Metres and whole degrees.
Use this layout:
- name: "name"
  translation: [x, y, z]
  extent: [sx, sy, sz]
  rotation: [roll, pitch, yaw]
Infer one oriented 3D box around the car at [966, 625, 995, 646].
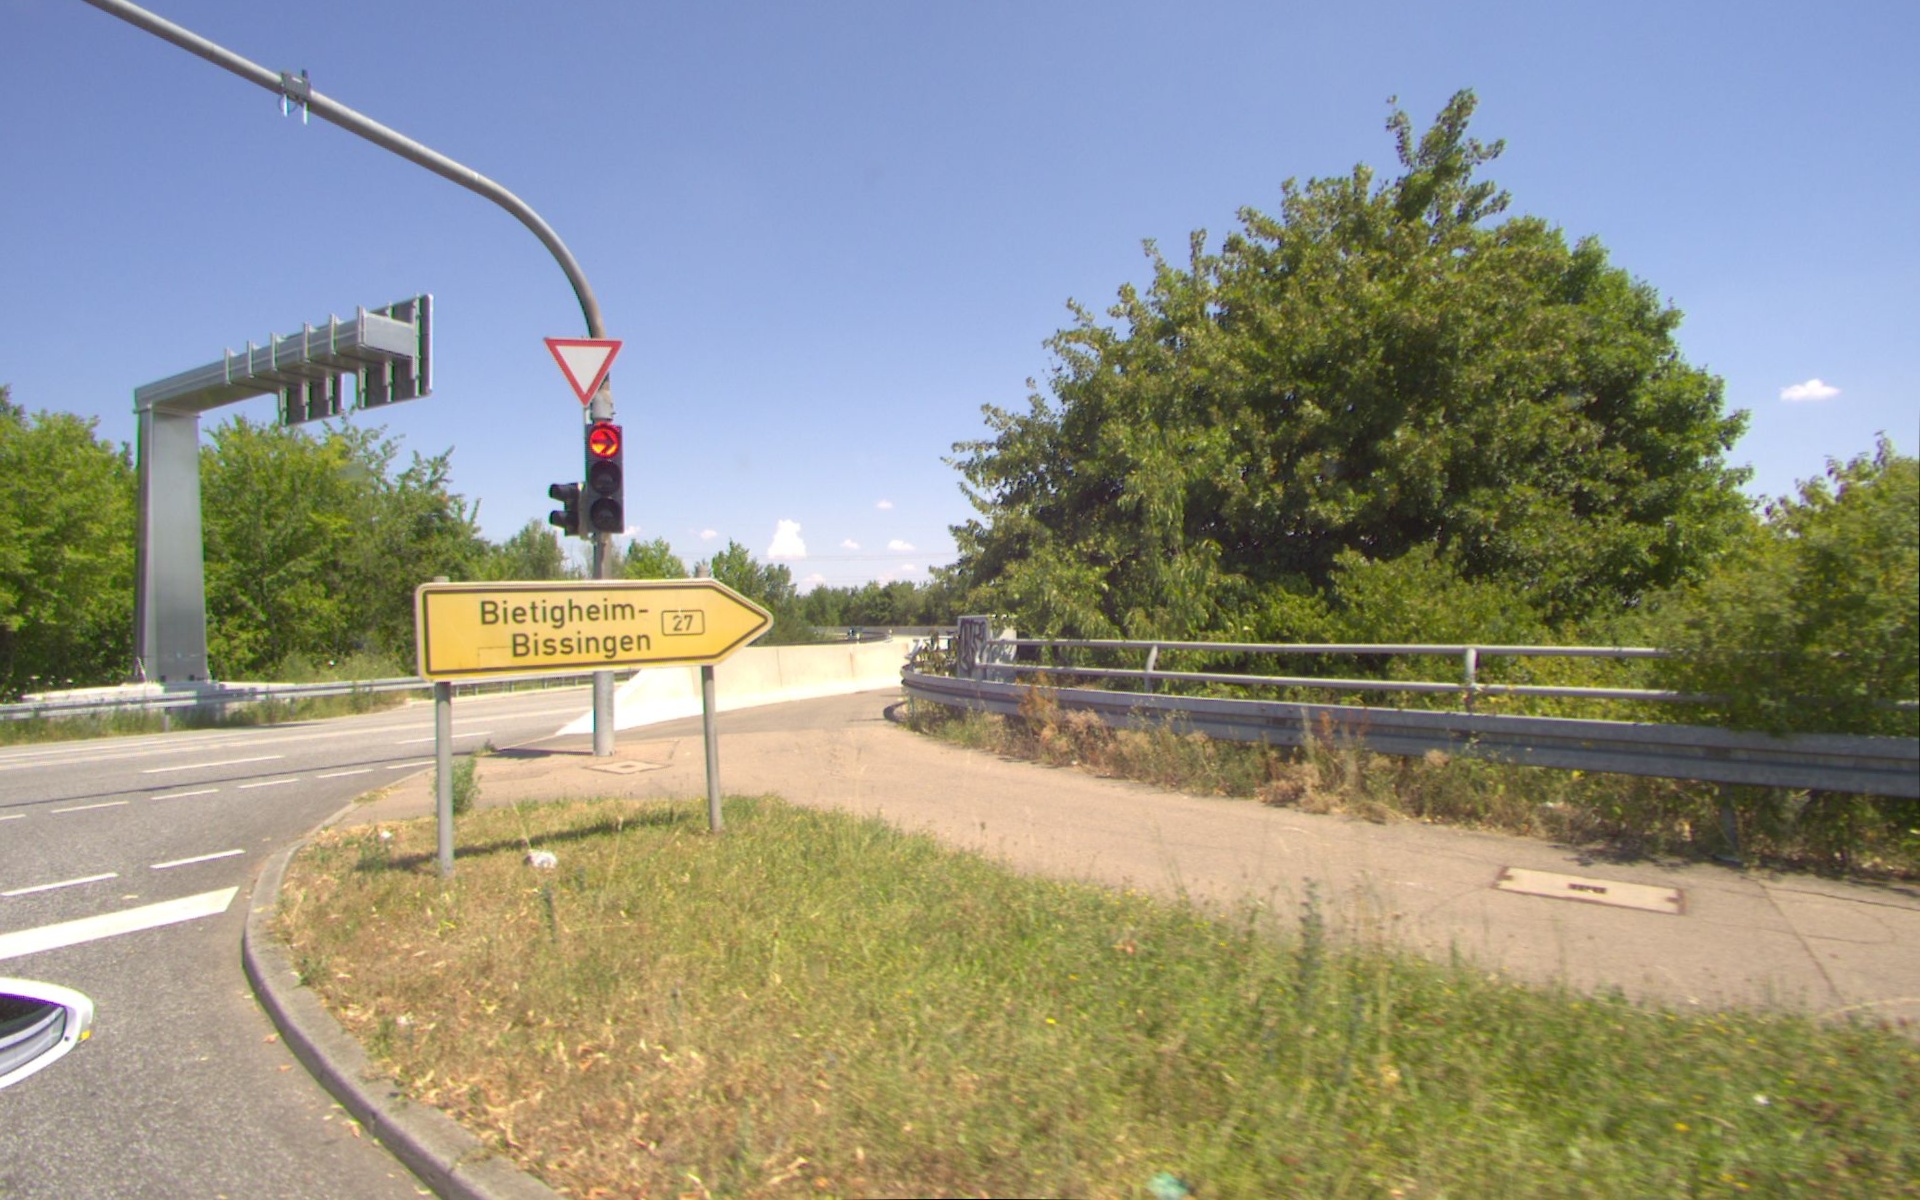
- name: "car"
  translation: [1.583, 2.658, 74.885]
  extent: [1.615, 1.413, 3.990]
  rotation: [-4, -1, 8]
